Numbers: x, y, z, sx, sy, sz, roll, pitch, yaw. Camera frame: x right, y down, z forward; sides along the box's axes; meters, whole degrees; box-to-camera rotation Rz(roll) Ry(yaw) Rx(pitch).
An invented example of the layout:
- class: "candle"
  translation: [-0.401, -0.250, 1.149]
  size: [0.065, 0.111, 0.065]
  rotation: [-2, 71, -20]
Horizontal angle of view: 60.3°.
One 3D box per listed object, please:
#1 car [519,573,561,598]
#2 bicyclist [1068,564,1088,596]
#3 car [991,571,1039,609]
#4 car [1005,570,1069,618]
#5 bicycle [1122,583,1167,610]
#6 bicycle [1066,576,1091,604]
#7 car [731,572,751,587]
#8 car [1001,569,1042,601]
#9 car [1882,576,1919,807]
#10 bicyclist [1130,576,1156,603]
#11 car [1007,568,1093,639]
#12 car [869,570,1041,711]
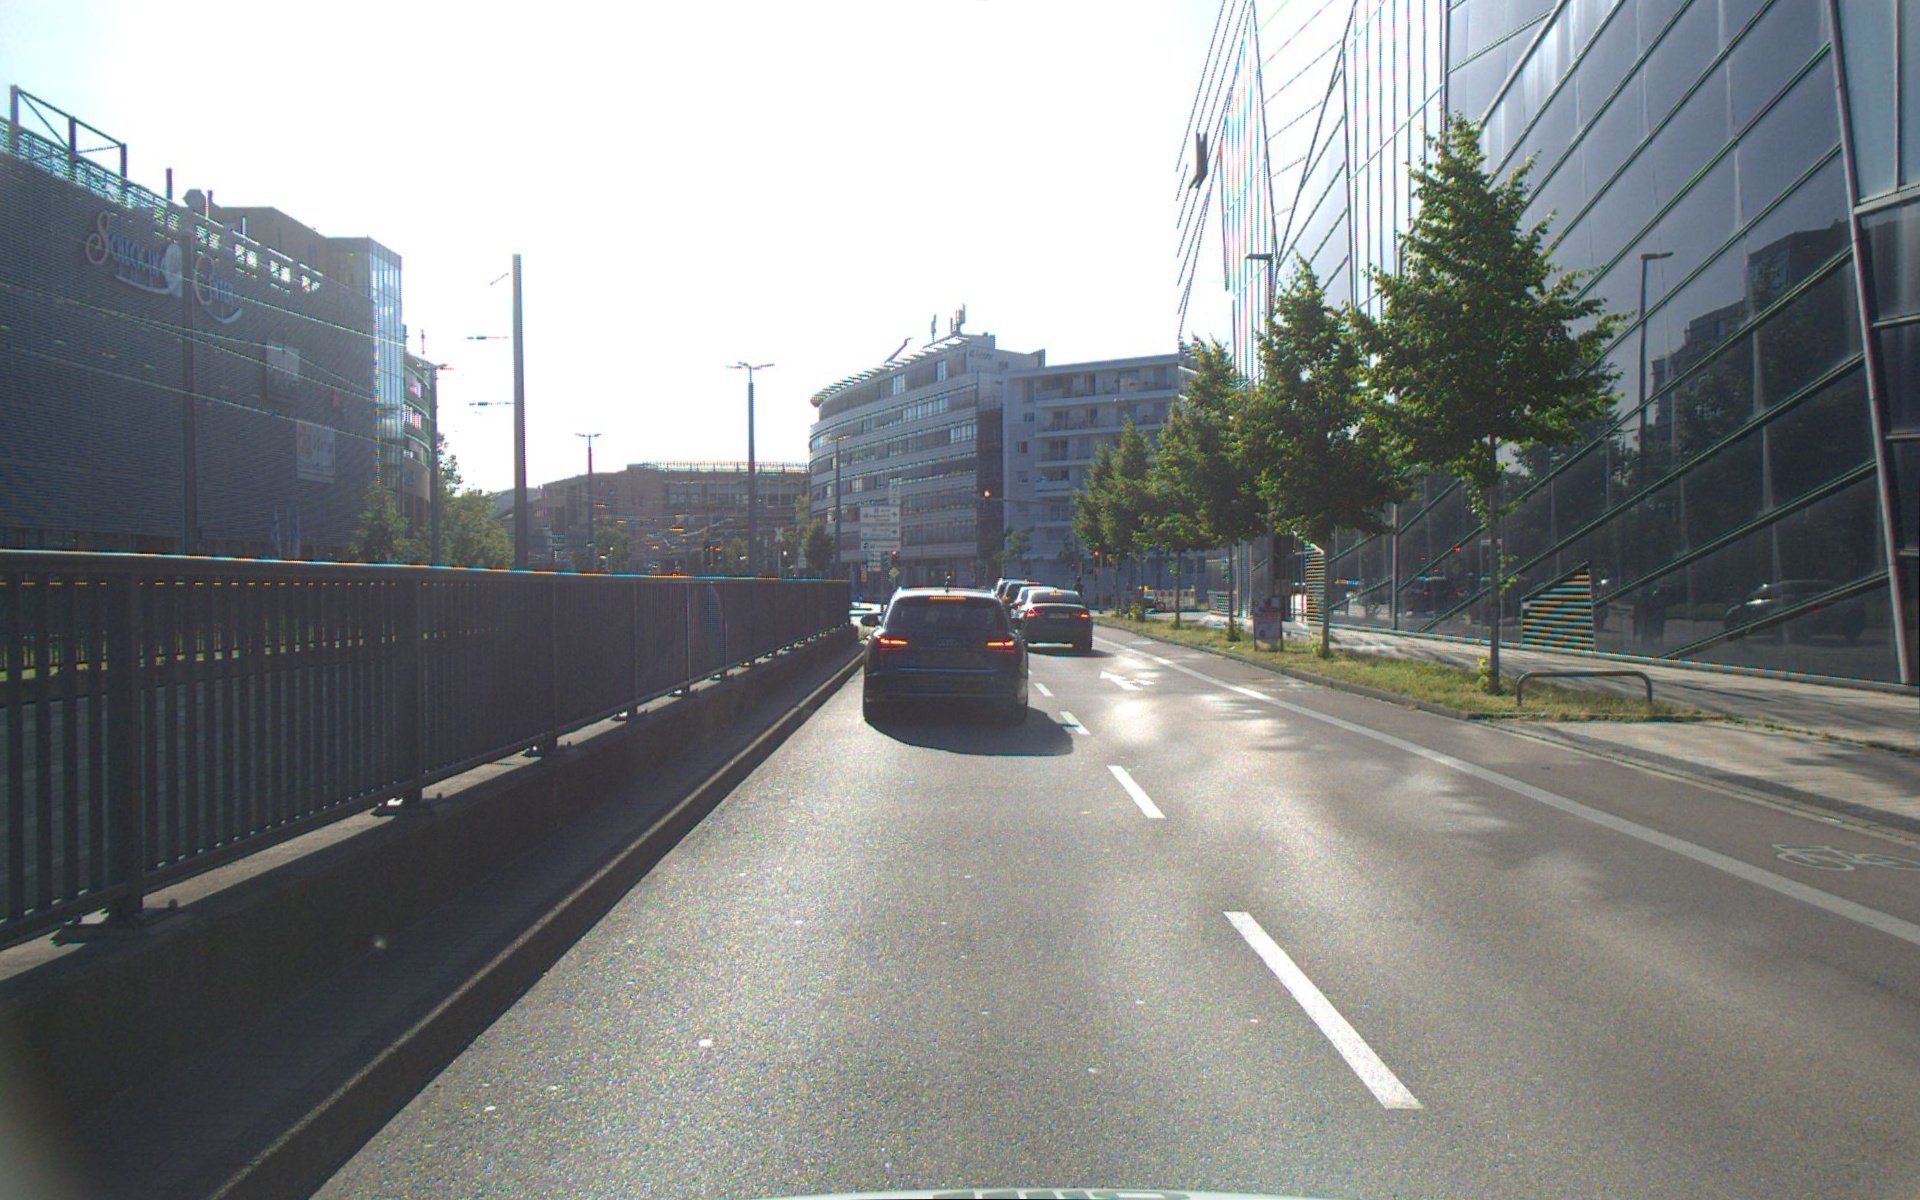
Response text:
- class: "car"
  translation: [-30.434, -1.050, 119.932]
  size: [1.953, 1.746, 4.000]
  rotation: [-2, 1, -1]
- class: "bicyclist"
  translation: [5.384, -0.908, 75.200]
  size: [0.710, 1.443, 0.890]
  rotation: [-2, 1, -7]
- class: "car"
  translation: [2.310, -0.465, 70.132]
  size: [1.952, 1.491, 4.001]
  rotation: [1, 2, 1]
- class: "car"
  translation: [2.525, -0.229, 55.202]
  size: [1.952, 1.491, 4.001]
  rotation: [1, 2, 0]
- class: "bicycle"
  translation: [8.959, -0.175, 80.230]
  size: [2.051, 1.204, 0.724]
  rotation: [-2, 1, -13]
- class: "bicycle"
  translation: [5.383, -0.470, 75.184]
  size: [0.710, 1.204, 2.090]
  rotation: [-2, 1, -7]
- class: "car"
  translation: [-26.120, -2.459, 197.369]
  size: [1.954, 1.780, 3.998]
  rotation: [-2, 1, -3]
- class: "car"
  translation: [3.000, -0.751, 81.332]
  size: [1.952, 1.491, 4.001]
  rotation: [1, 2, 1]
- class: "car"
  translation: [7.221, 0.617, 8.817]
  size: [1.815, 1.506, 4.853]
  rotation: [-2, 1, -1]
- class: "bicyclist"
  translation: [8.882, -0.516, 80.217]
  size: [1.015, 1.291, 0.724]
  rotation: [-2, 1, -13]
- class: "car"
  translation: [2.095, 0.043, 39.379]
  size: [1.815, 1.573, 4.000]
  rotation: [1, 1, 0]
- class: "car"
  translation: [-0.097, 0.396, 19.515]
  size: [1.775, 1.452, 4.689]
  rotation: [-1, 1, -1]
